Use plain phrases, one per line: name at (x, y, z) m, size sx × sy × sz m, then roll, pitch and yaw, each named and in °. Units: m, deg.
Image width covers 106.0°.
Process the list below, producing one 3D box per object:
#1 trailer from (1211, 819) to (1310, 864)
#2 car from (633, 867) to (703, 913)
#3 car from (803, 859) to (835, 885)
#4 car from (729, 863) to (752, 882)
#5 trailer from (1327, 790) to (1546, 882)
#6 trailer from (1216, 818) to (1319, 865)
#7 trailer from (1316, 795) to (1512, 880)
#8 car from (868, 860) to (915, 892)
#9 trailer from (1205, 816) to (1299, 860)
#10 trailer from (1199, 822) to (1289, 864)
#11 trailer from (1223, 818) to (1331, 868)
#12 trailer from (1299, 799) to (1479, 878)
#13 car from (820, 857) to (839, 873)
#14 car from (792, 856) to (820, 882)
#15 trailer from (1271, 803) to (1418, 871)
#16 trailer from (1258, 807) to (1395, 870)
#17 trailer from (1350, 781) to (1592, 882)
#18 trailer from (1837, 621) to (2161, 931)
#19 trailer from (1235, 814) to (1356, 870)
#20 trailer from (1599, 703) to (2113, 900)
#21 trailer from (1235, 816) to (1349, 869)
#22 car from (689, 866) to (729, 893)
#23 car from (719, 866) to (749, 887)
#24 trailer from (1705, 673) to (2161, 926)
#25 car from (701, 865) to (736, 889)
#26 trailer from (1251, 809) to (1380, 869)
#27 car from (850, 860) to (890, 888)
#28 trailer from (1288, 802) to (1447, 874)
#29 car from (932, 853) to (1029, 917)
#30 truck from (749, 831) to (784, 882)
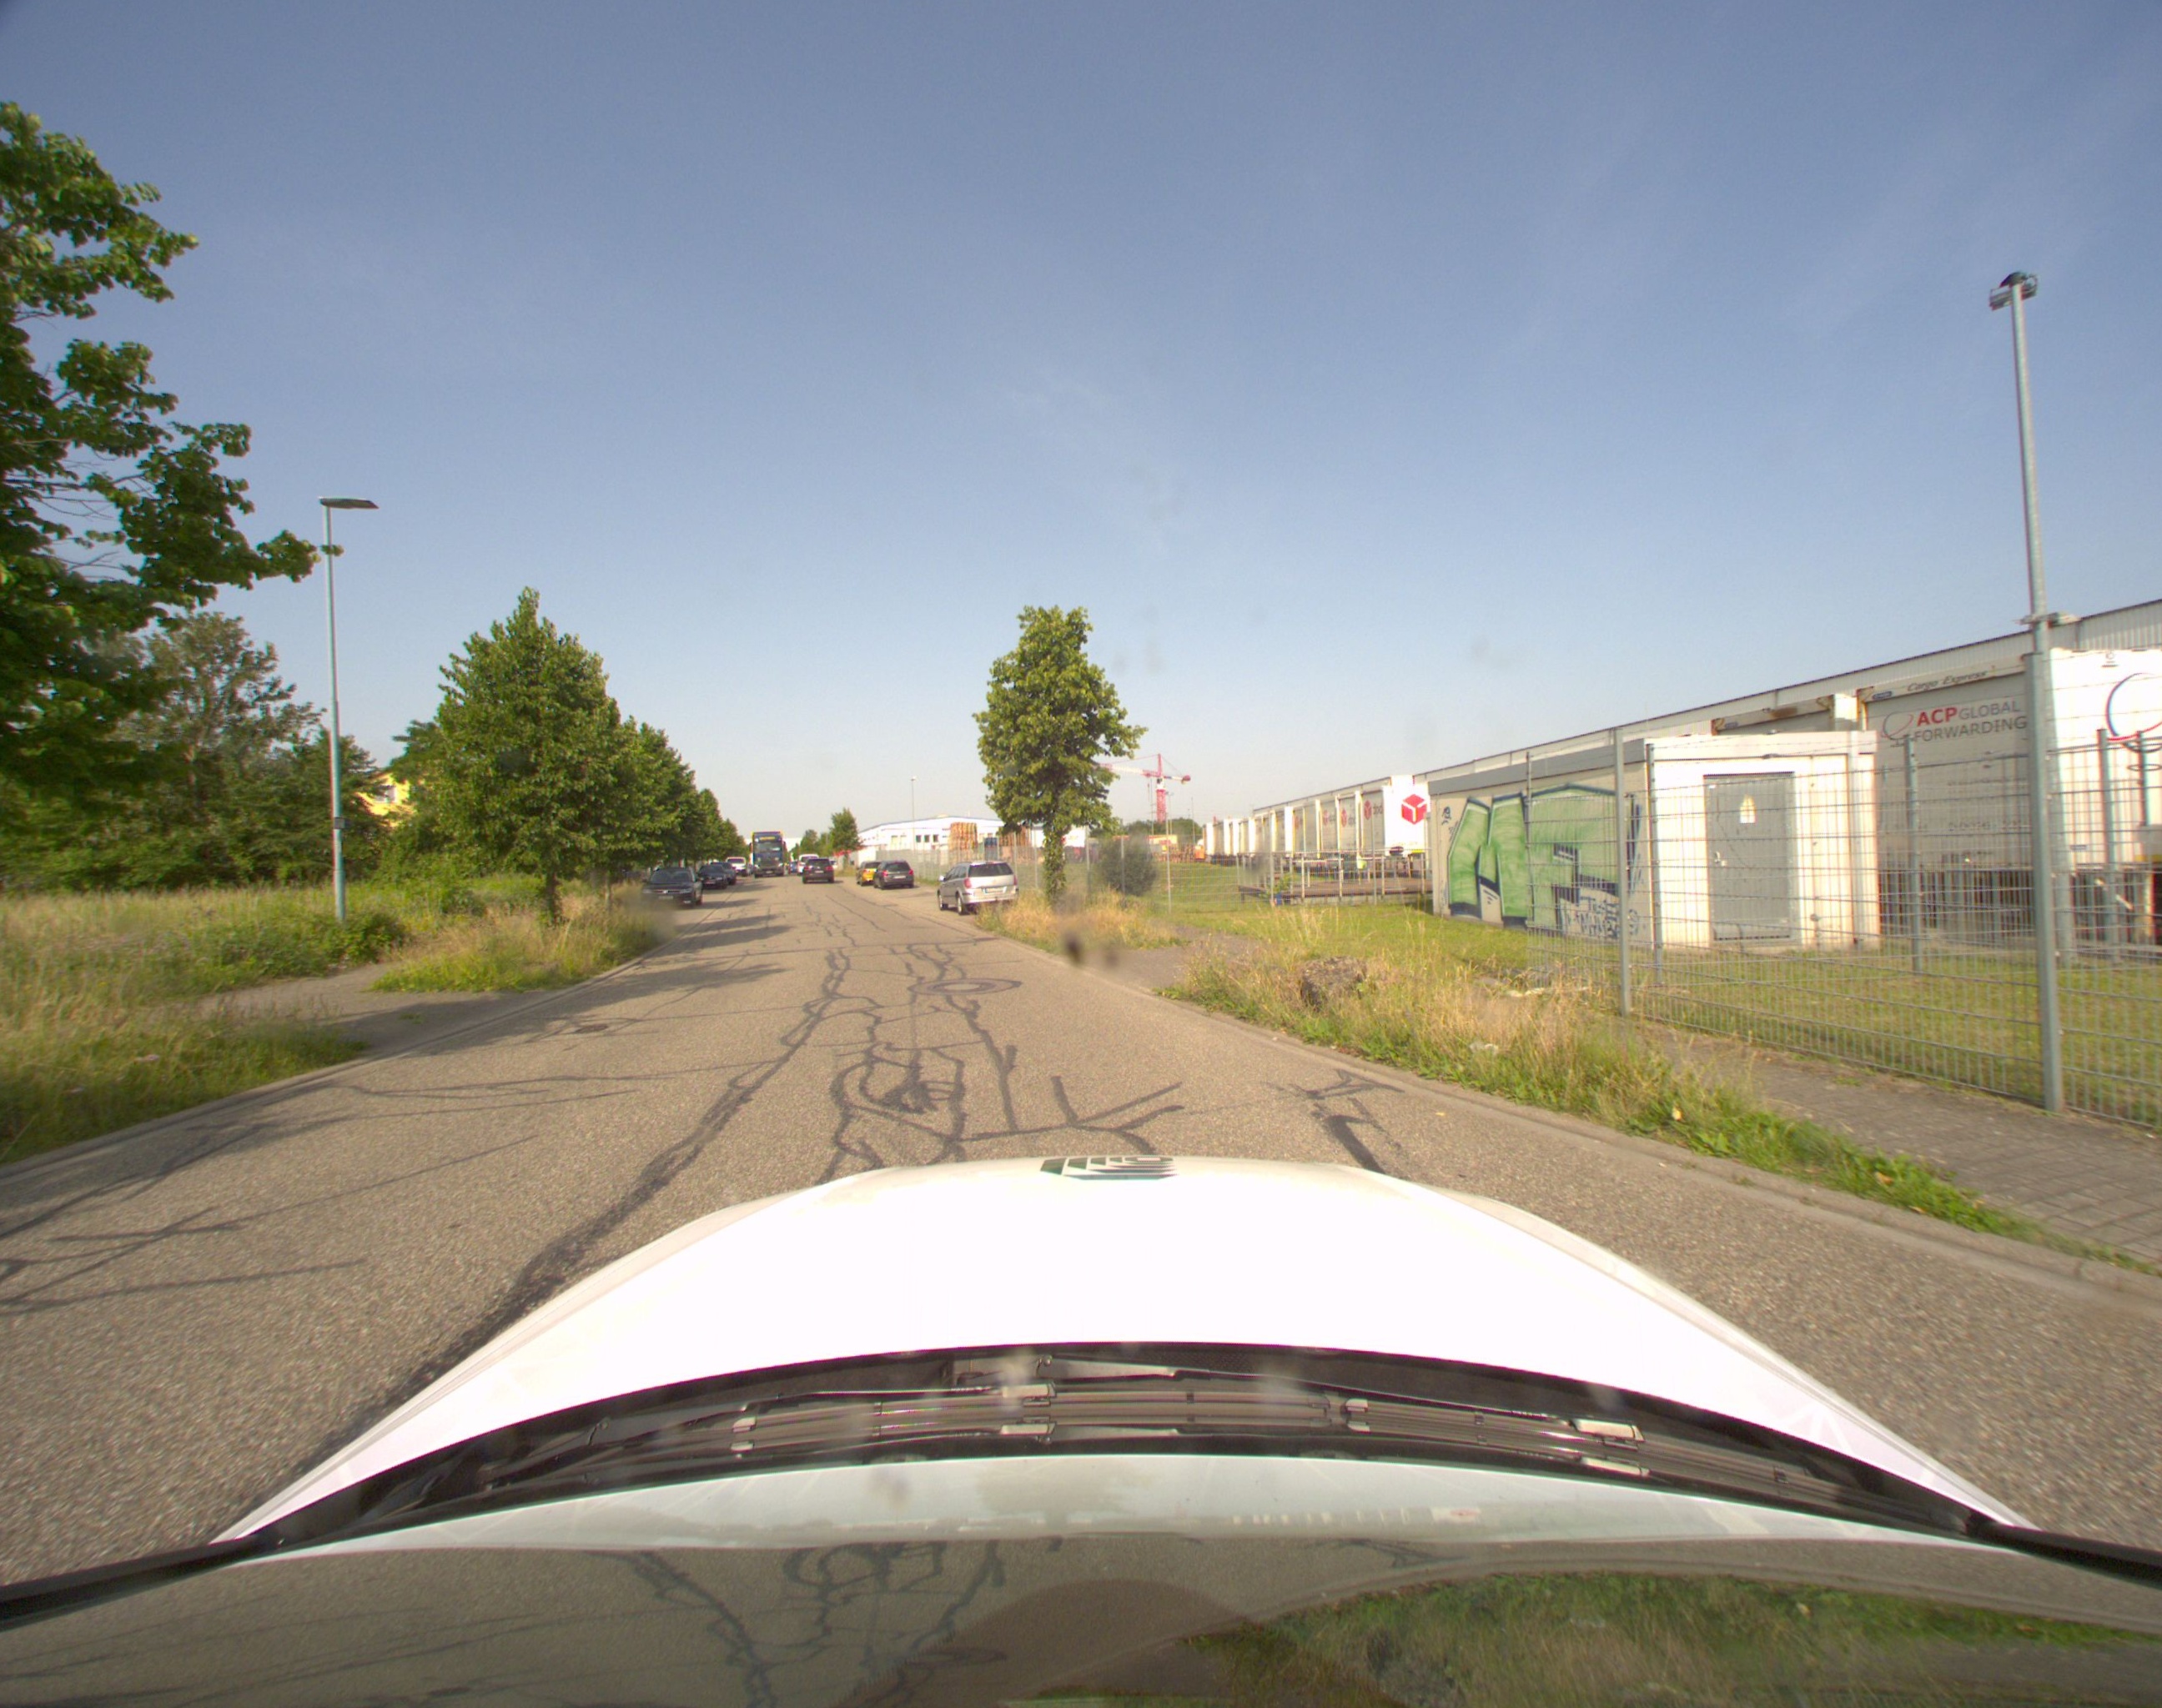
trailer at (15.535, -1.093, 70.810) m, size 7.942 × 3.893 × 2.774 m, roll 0°, pitch 1°, yaw -3°
car at (-16.134, 1.341, 32.001) m, size 1.909 × 1.626 × 4.419 m, roll 0°, pitch 0°, yaw -20°
car at (-17.163, 1.167, 53.352) m, size 1.886 × 1.586 × 4.087 m, roll -2°, pitch 0°, yaw -19°
car at (-31.937, 1.701, 76.449) m, size 1.839 × 1.763 × 4.022 m, roll 0°, pitch 0°, yaw -20°
trailer at (15.487, -0.799, 35.820) m, size 8.514 × 3.893 × 2.774 m, roll 0°, pitch 1°, yaw -3°
trailer at (15.465, -1.046, 67.859) m, size 7.942 × 3.893 × 2.774 m, roll 0°, pitch 1°, yaw -3°
trailer at (15.745, -0.809, 38.835) m, size 8.286 × 3.893 × 2.774 m, roll 0°, pitch 1°, yaw -3°
car at (-10.187, 1.123, 43.500) m, size 1.722 × 1.515 × 3.973 m, roll -4°, pitch 1°, yaw -23°
trailer at (15.425, -1.424, 73.868) m, size 7.942 × 3.893 × 2.741 m, roll 0°, pitch 1°, yaw -3°
trailer at (15.349, -1.041, 76.920) m, size 7.942 × 3.893 × 2.741 m, roll 0°, pitch 1°, yaw -3°
trailer at (15.450, -0.873, 64.472) m, size 7.942 × 3.893 × 2.774 m, roll 0°, pitch 1°, yaw -3°
trailer at (15.688, -0.805, 41.897) m, size 8.286 × 3.893 × 2.774 m, roll 0°, pitch 1°, yaw -3°
car at (-28.290, 1.226, 91.460) m, size 1.721 × 1.680 × 3.921 m, roll -2°, pitch 0°, yaw -22°
car at (-24.043, 1.286, 71.323) m, size 2.127 × 2.110 × 4.596 m, roll -2°, pitch 0°, yaw -18°
trailer at (15.700, -1.022, 48.839) m, size 7.942 × 3.893 × 2.774 m, roll 0°, pitch 1°, yaw -3°
trailer at (15.526, -1.007, 51.851) m, size 7.942 × 3.893 × 2.774 m, roll 0°, pitch 1°, yaw -3°
trailer at (15.491, -0.897, 32.713) m, size 8.514 × 3.893 × 2.774 m, roll 0°, pitch 1°, yaw -3°
trailer at (16.517, -1.069, 11.719) m, size 8.508 × 3.894 × 2.775 m, roll -2°, pitch -2°, yaw 0°
trailer at (15.237, -0.890, 58.088) m, size 7.942 × 3.893 × 2.774 m, roll 0°, pitch 1°, yaw -3°
trailer at (16.510, -1.074, 17.762) m, size 8.709 × 3.761 × 2.788 m, roll -1°, pitch 0°, yaw -2°
trailer at (15.821, -0.881, 61.404) m, size 7.942 × 3.893 × 2.774 m, roll 0°, pitch 1°, yaw -3°
car at (-22.142, 1.504, 48.626) m, size 1.839 × 1.496 × 4.022 m, roll 0°, pitch 0°, yaw -20°
car at (-26.331, 1.697, 61.902) m, size 1.839 × 1.496 × 4.022 m, roll 0°, pitch 0°, yaw -20°
trailer at (16.677, -0.988, 14.777) m, size 8.510 × 3.893 × 2.775 m, roll -3°, pitch 0°, yaw -1°
car at (-24.254, 1.485, 54.614) m, size 1.839 × 1.496 × 4.022 m, roll 0°, pitch 0°, yaw -20°
trailer at (15.768, -1.017, 55.071) m, size 7.942 × 3.893 × 2.774 m, roll 0°, pitch 1°, yaw -3°
car at (-12.594, 1.169, 48.503) m, size 1.722 × 1.455 × 4.156 m, roll -4°, pitch 1°, yaw -22°
trailer at (16.009, -0.906, 45.869) m, size 8.013 × 3.893 × 2.774 m, roll 0°, pitch 1°, yaw -3°
car at (-3.126, 0.862, 24.588) m, size 1.806 × 1.625 × 4.418 m, roll -4°, pitch 1°, yaw -21°
truck at (-28.423, 0.250, 73.564) m, size 2.508 × 4.145 × 10.305 m, roll -4°, pitch 1°, yaw -21°
